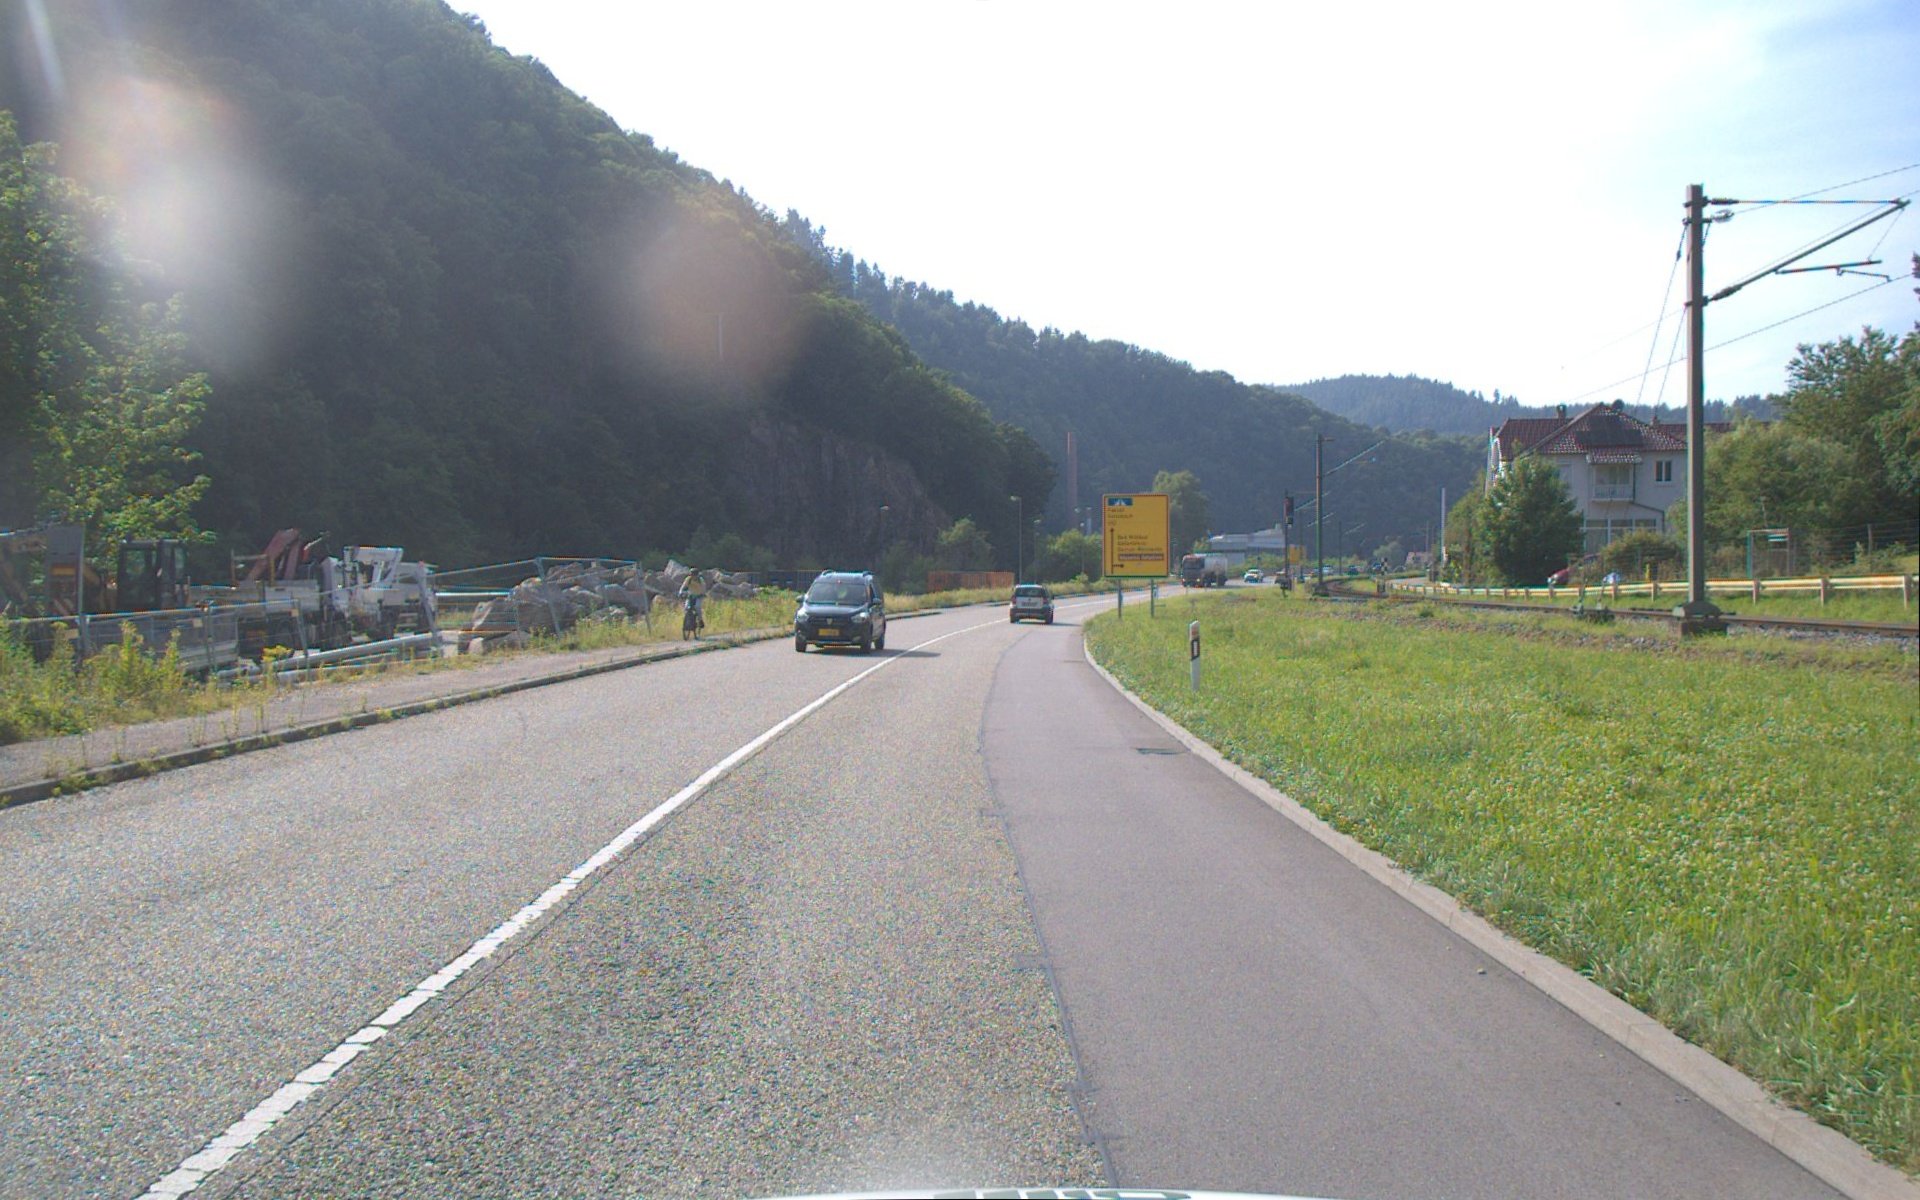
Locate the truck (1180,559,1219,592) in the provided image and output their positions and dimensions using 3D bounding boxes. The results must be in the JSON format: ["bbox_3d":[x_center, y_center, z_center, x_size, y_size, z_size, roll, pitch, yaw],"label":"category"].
[{"bbox_3d":[30.310,-3.085,208.776,2.692,3.902,14.572,1,1,16],"label":"truck"}]

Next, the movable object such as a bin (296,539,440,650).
[{"bbox_3d":[-23.273,-0.211,65.502,2.839,4.016,7.808,-2,0,-1],"label":"movable object such as a bin"}]

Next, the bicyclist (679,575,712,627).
[{"bbox_3d":[-6.484,0.021,40.571,0.670,1.246,0.858,1,0,0],"label":"bicyclist"}]

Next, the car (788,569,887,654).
[{"bbox_3d":[-2.791,0.235,38.667,1.813,1.816,4.685,1,0,1],"label":"car"}]

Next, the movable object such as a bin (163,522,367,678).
[{"bbox_3d":[-19.606,-0.010,47.175,2.666,4.016,7.229,-2,0,-1],"label":"movable object such as a bin"}]

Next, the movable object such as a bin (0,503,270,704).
[{"bbox_3d":[-19.484,0.075,38.560,2.644,4.016,9.988,-2,0,-1],"label":"movable object such as a bin"}]

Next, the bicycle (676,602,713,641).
[{"bbox_3d":[-6.499,0.515,40.566,0.528,0.897,2.253,1,0,0],"label":"bicycle"}]

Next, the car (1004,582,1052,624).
[{"bbox_3d":[3.012,0.109,72.405,1.952,1.753,3.992,-2,0,4],"label":"car"}]

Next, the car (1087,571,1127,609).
[{"bbox_3d":[8.242,-0.571,93.149,1.952,2.048,4.001,-2,0,2],"label":"car"}]

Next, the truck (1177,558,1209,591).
[{"bbox_3d":[28.584,-3.129,203.010,2.692,3.902,8.203,1,1,16],"label":"truck"}]
